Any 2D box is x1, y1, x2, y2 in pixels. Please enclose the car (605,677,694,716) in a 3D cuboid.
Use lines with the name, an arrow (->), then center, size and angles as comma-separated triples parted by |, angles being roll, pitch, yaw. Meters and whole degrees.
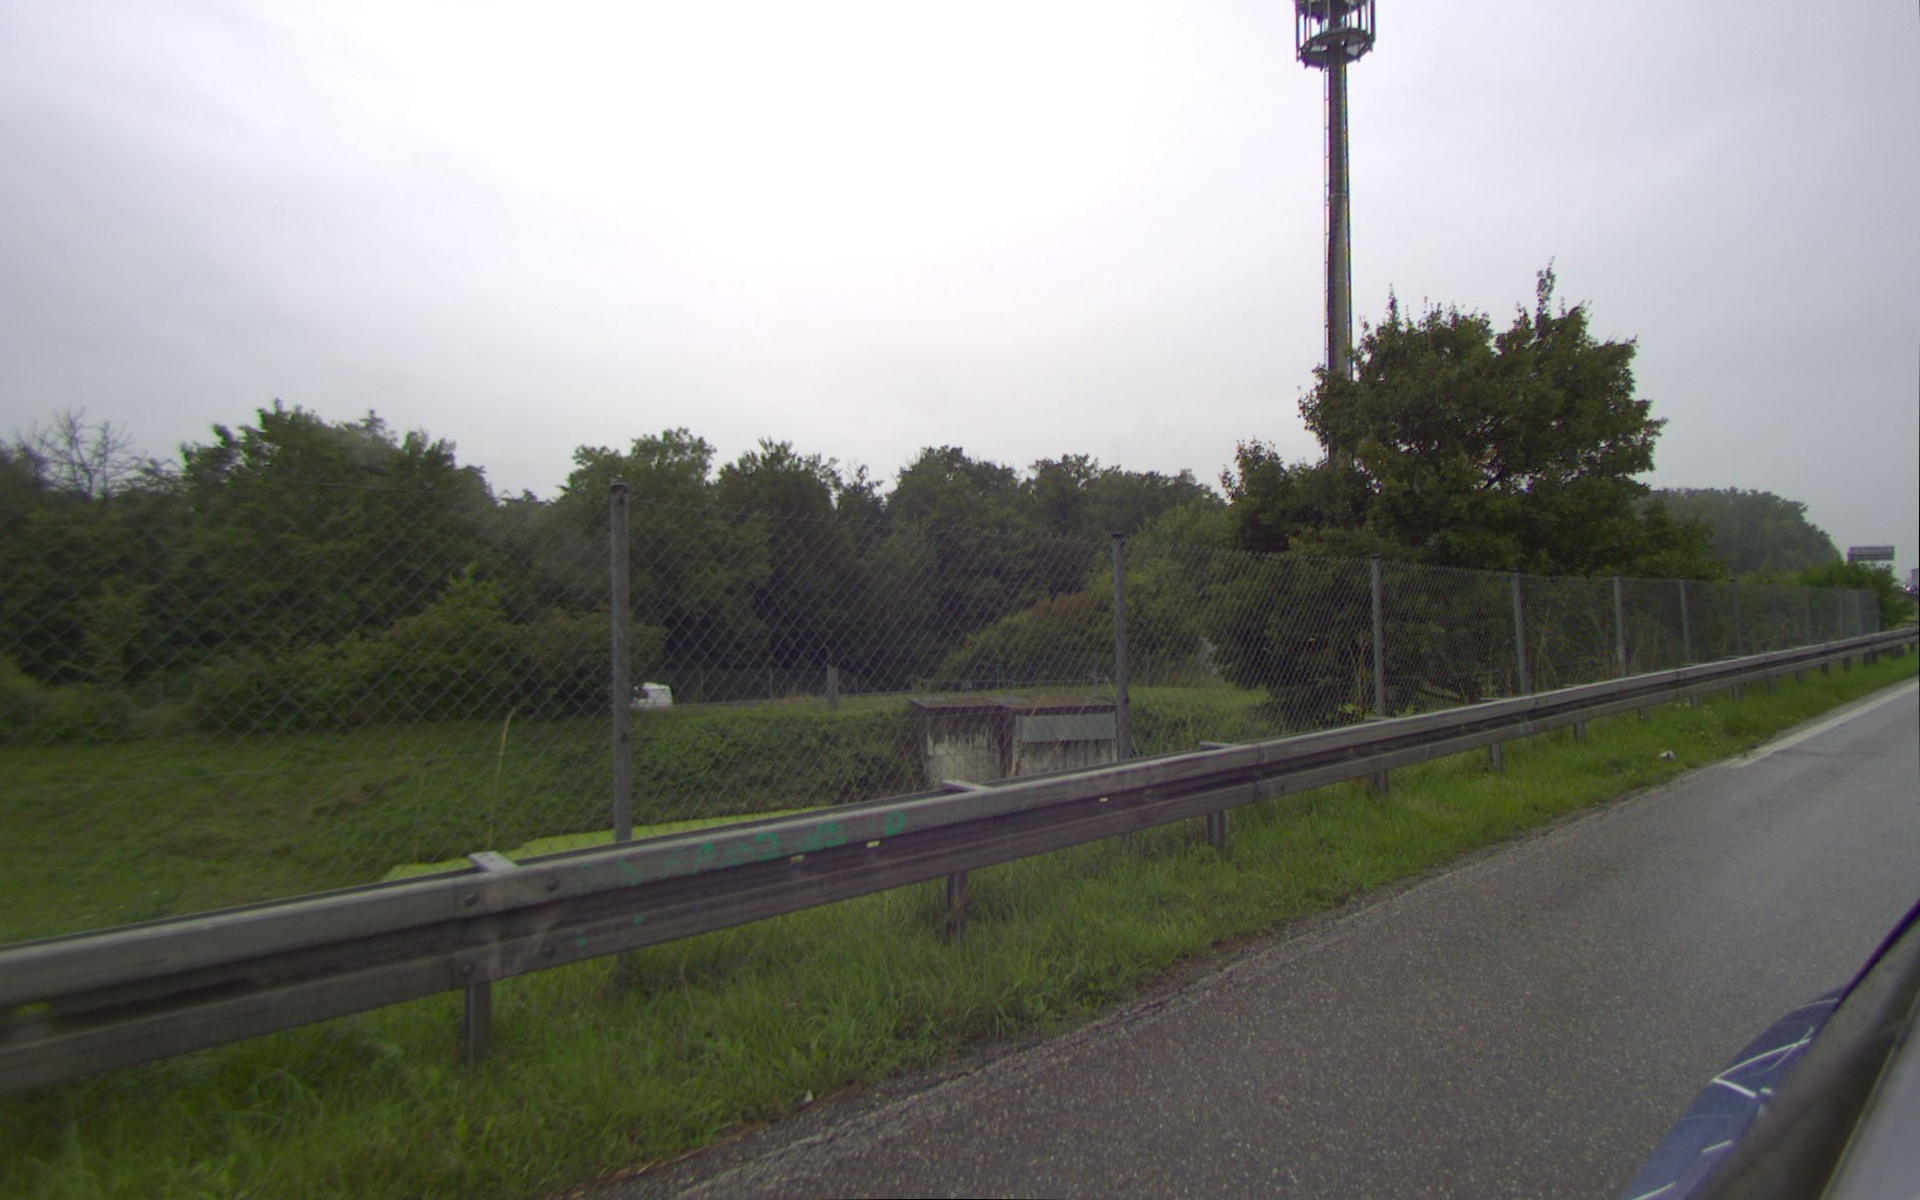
car -> -17.210, 5.347, 56.174 | 1.930, 1.650, 4.241 | -6, -2, 43
